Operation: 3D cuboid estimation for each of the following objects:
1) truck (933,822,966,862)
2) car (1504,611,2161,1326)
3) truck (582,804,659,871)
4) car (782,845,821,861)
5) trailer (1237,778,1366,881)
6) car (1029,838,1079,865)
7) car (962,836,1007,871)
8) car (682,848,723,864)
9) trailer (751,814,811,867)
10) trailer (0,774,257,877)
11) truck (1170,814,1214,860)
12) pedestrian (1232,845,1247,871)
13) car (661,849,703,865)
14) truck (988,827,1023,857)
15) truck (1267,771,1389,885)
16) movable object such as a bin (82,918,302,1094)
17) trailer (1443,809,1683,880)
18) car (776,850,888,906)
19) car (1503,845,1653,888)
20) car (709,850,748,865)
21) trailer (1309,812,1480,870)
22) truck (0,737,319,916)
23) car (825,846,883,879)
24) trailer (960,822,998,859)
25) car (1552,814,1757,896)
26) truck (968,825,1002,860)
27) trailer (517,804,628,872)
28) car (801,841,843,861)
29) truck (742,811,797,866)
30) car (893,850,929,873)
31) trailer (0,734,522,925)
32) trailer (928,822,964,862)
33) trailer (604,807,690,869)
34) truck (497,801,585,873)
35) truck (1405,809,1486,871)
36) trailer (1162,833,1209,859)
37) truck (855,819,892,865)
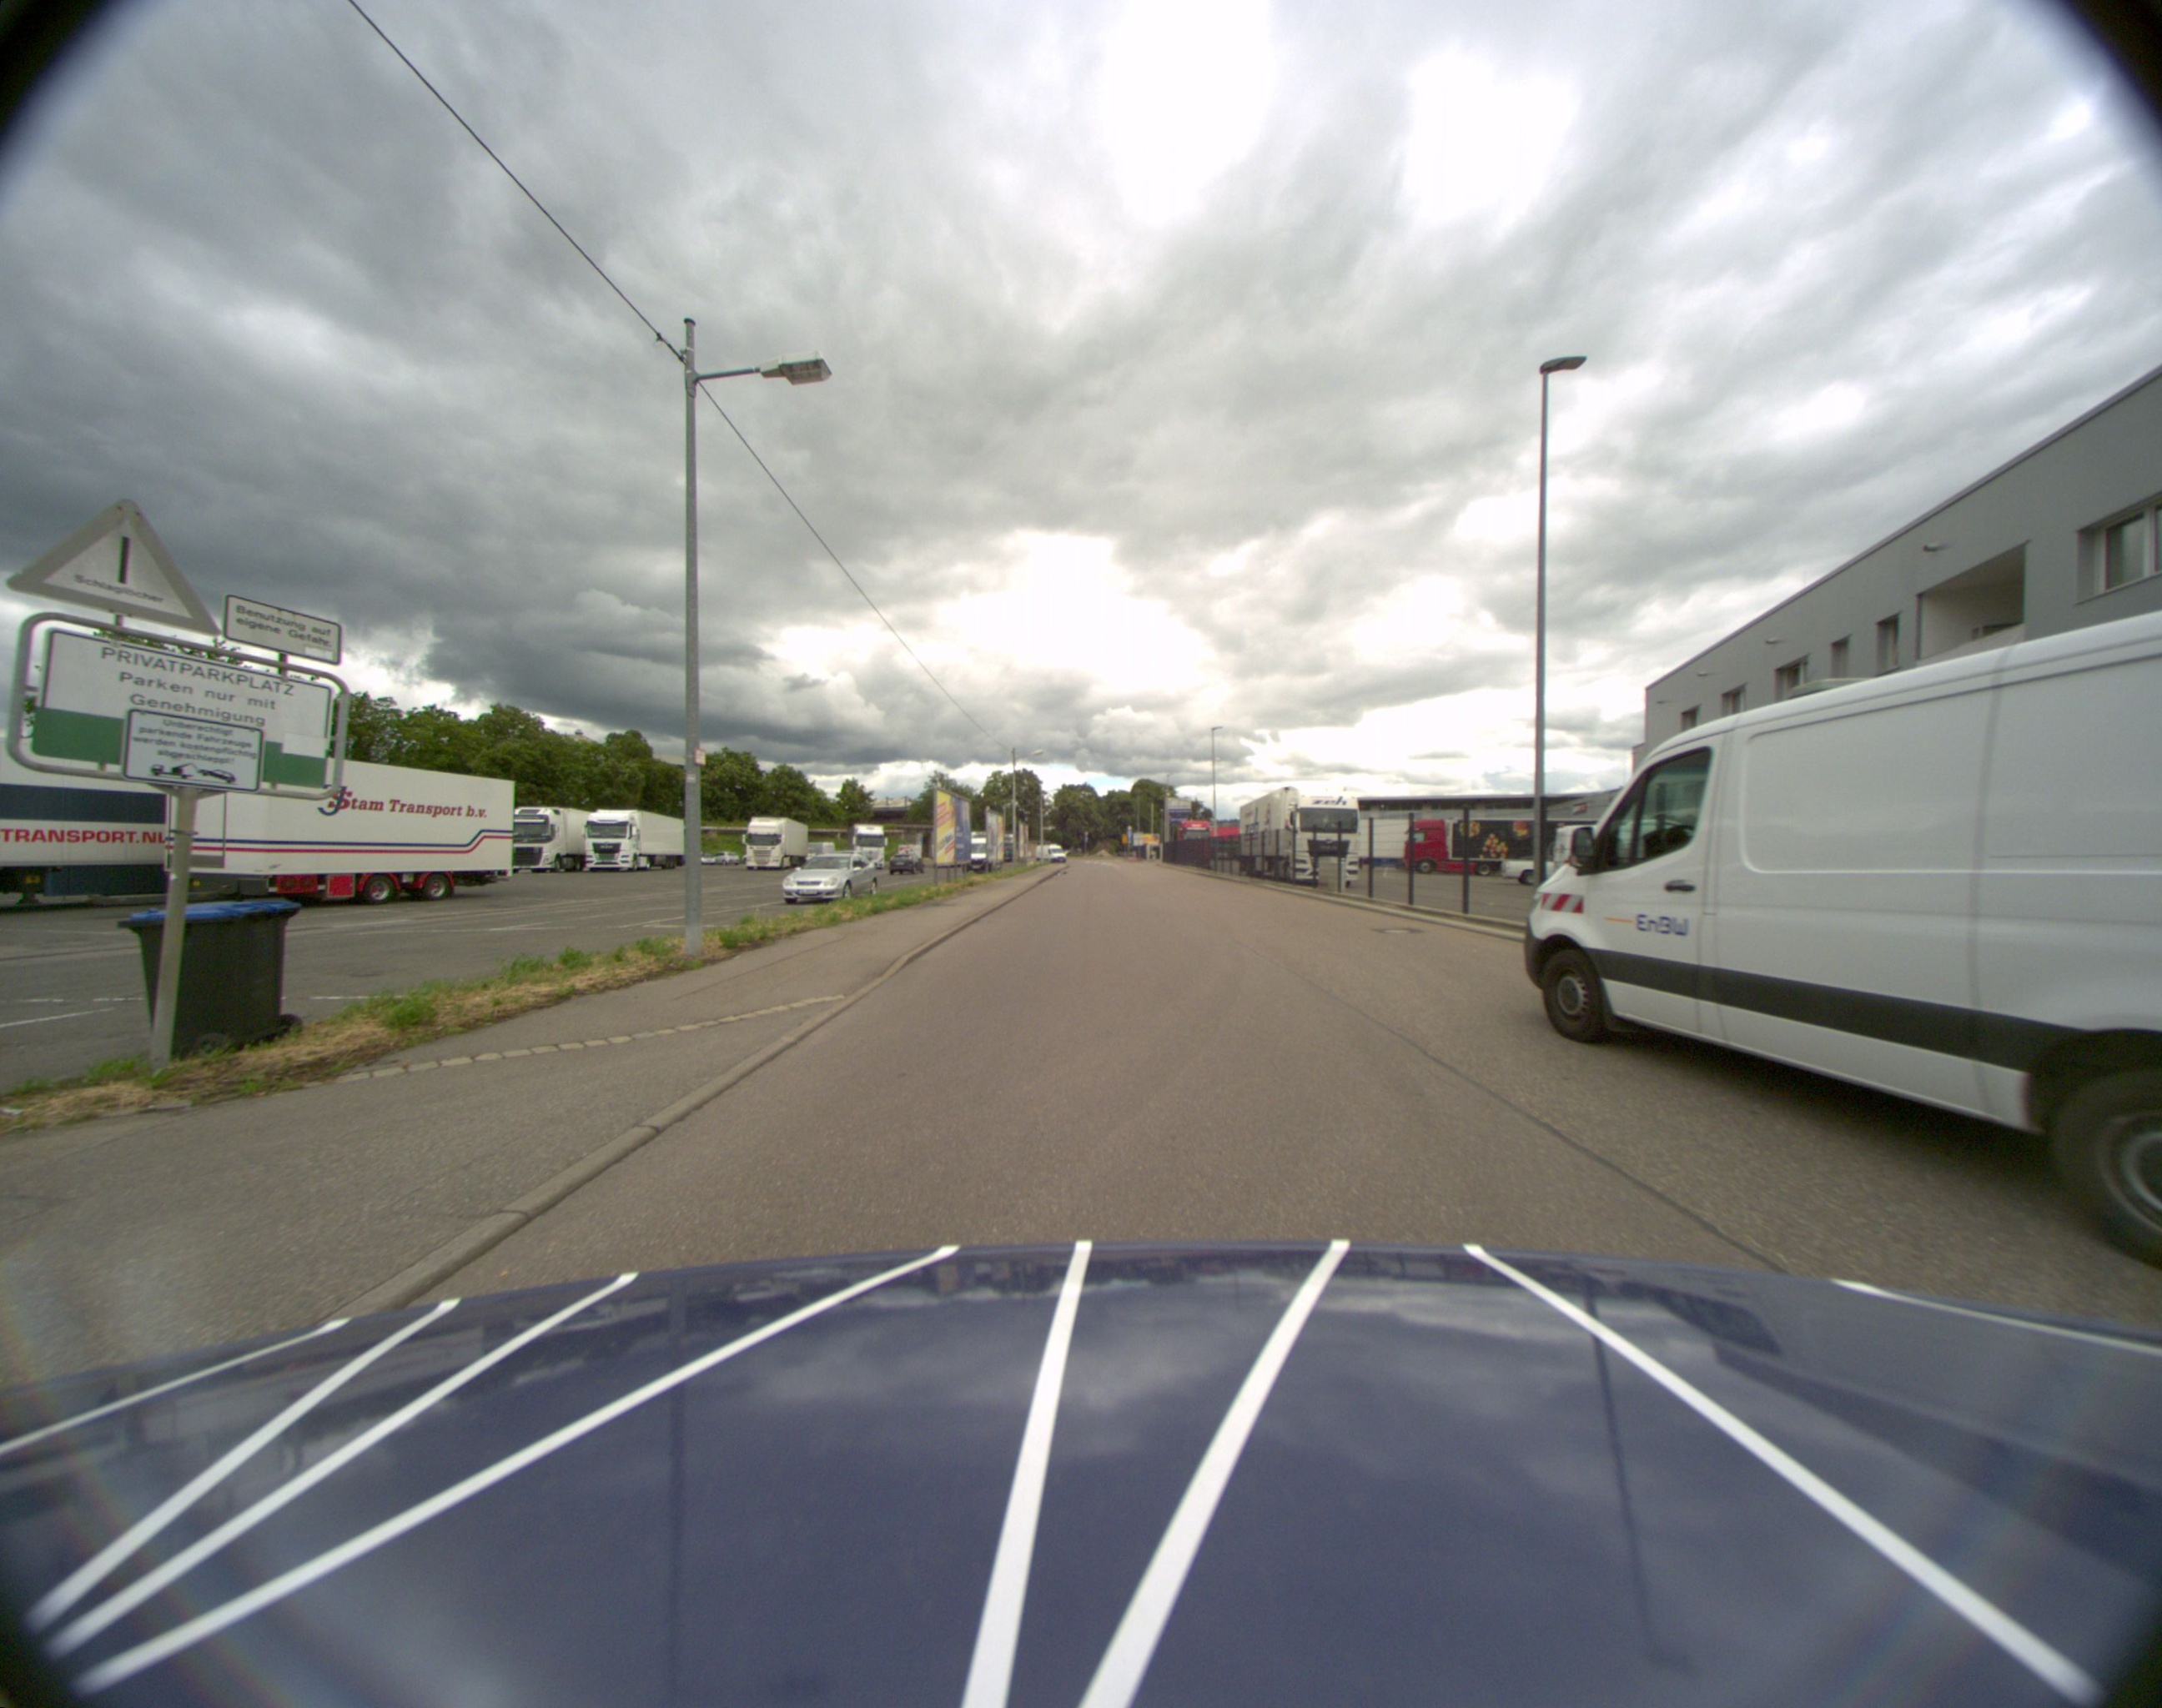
[{"bbox_3d":[-13.881,-1.210,79.942,2.876,3.990,6.747,1,1,-14],"label":"truck"},{"bbox_3d":[4.645,0.362,3.968,1.998,2.402,5.256,-1,1,1],"label":"car"},{"bbox_3d":[-30.053,-1.060,49.857,2.618,4.071,6.746,1,1,-16],"label":"truck"},{"bbox_3d":[-34.058,-0.189,92.617,4.707,1.881,2.004,1,1,33],"label":"car"},{"bbox_3d":[10.453,-1.099,38.107,3.366,4.136,13.851,2,1,5],"label":"trailer"},{"bbox_3d":[-3.868,-0.363,107.201,3.346,3.587,8.648,0,1,-31],"label":"car"},{"bbox_3d":[-6.768,-0.080,53.977,2.091,2.401,6.083,0,1,3],"label":"car"},{"bbox_3d":[-41.225,0.222,82.770,4.208,1.600,2.004,1,1,31],"label":"car"},{"bbox_3d":[-25.787,-1.145,65.945,2.841,4.071,13.378,1,1,-13],"label":"trailer"},{"bbox_3d":[-43.691,-1.131,32.902,3.644,3.888,13.720,0,1,-13],"label":"trailer"},{"bbox_3d":[9.693,-1.480,66.851,3.021,3.827,5.669,2,1,1],"label":"truck"},{"bbox_3d":[11.081,0.258,53.116,0.804,1.810,0.880,0,1,-2],"label":"pedestrian"},{"bbox_3d":[-42.249,0.293,80.378,4.208,1.600,2.004,1,1,31],"label":"car"},{"bbox_3d":[-10.059,-1.565,100.068,2.832,3.690,9.089,0,1,-17],"label":"truck"},{"bbox_3d":[9.880,-1.000,31.132,3.366,4.136,5.628,2,1,5],"label":"truck"},{"bbox_3d":[-6.112,1.013,5.271,0.716,1.075,0.662,0,1,-6],"label":"movable object such as a bin"},{"bbox_3d":[31.845,-0.755,51.155,13.156,4.189,3.053,2,1,23],"label":"trailer"},{"bbox_3d":[-7.253,0.637,22.631,1.778,1.455,4.560,0,1,1],"label":"car"},{"bbox_3d":[23.505,0.533,36.231,5.679,1.799,1.947,2,1,22],"label":"car"},{"bbox_3d":[-39.002,0.355,84.118,3.988,1.600,2.004,1,1,31],"label":"car"},{"bbox_3d":[24.311,-1.078,59.699,12.019,4.109,3.052,2,1,19],"label":"trailer"},{"bbox_3d":[-25.315,-0.659,17.050,3.082,3.945,13.067,2,1,1],"label":"truck"},{"bbox_3d":[-12.086,0.413,40.711,1.769,1.562,3.999,-2,1,1],"label":"car"},{"bbox_3d":[-12.278,-1.580,90.306,2.842,4.071,13.376,1,1,-15],"label":"trailer"},{"bbox_3d":[20.230,0.078,27.148,5.422,2.715,2.244,-1,0,20],"label":"car"},{"bbox_3d":[-10.677,-1.270,84.135,2.876,3.609,6.747,1,1,-14],"label":"truck"},{"bbox_3d":[-34.395,-1.036,52.053,2.618,4.071,12.425,1,1,-16],"label":"trailer"},{"bbox_3d":[-32.363,-0.445,94.941,4.906,2.435,2.375,1,1,33],"label":"car"},{"bbox_3d":[-24.440,-1.187,59.963,2.876,4.071,6.748,1,1,-13],"label":"truck"},{"bbox_3d":[-12.011,0.508,53.965,1.497,1.486,4.053,0,1,3],"label":"car"},{"bbox_3d":[-21.235,-0.584,21.271,2.964,3.945,10.406,2,1,4],"label":"trailer"},{"bbox_3d":[-15.440,-1.345,85.854,2.842,4.071,13.376,1,1,-15],"label":"trailer"},{"bbox_3d":[-32.016,-1.162,56.690,2.618,4.071,12.425,1,1,-16],"label":"trailer"},{"bbox_3d":[-32.719,-0.969,46.302,2.618,4.071,5.646,1,1,-16],"label":"truck"},{"bbox_3d":[25.700,-1.001,53.788,4.869,4.181,3.053,2,1,23],"label":"truck"},{"bbox_3d":[9.807,-0.755,72.774,3.045,2.179,12.047,2,1,1],"label":"trailer"},{"bbox_3d":[-19.454,-1.079,70.840,2.877,4.071,6.744,1,1,-19],"label":"truck"}]
